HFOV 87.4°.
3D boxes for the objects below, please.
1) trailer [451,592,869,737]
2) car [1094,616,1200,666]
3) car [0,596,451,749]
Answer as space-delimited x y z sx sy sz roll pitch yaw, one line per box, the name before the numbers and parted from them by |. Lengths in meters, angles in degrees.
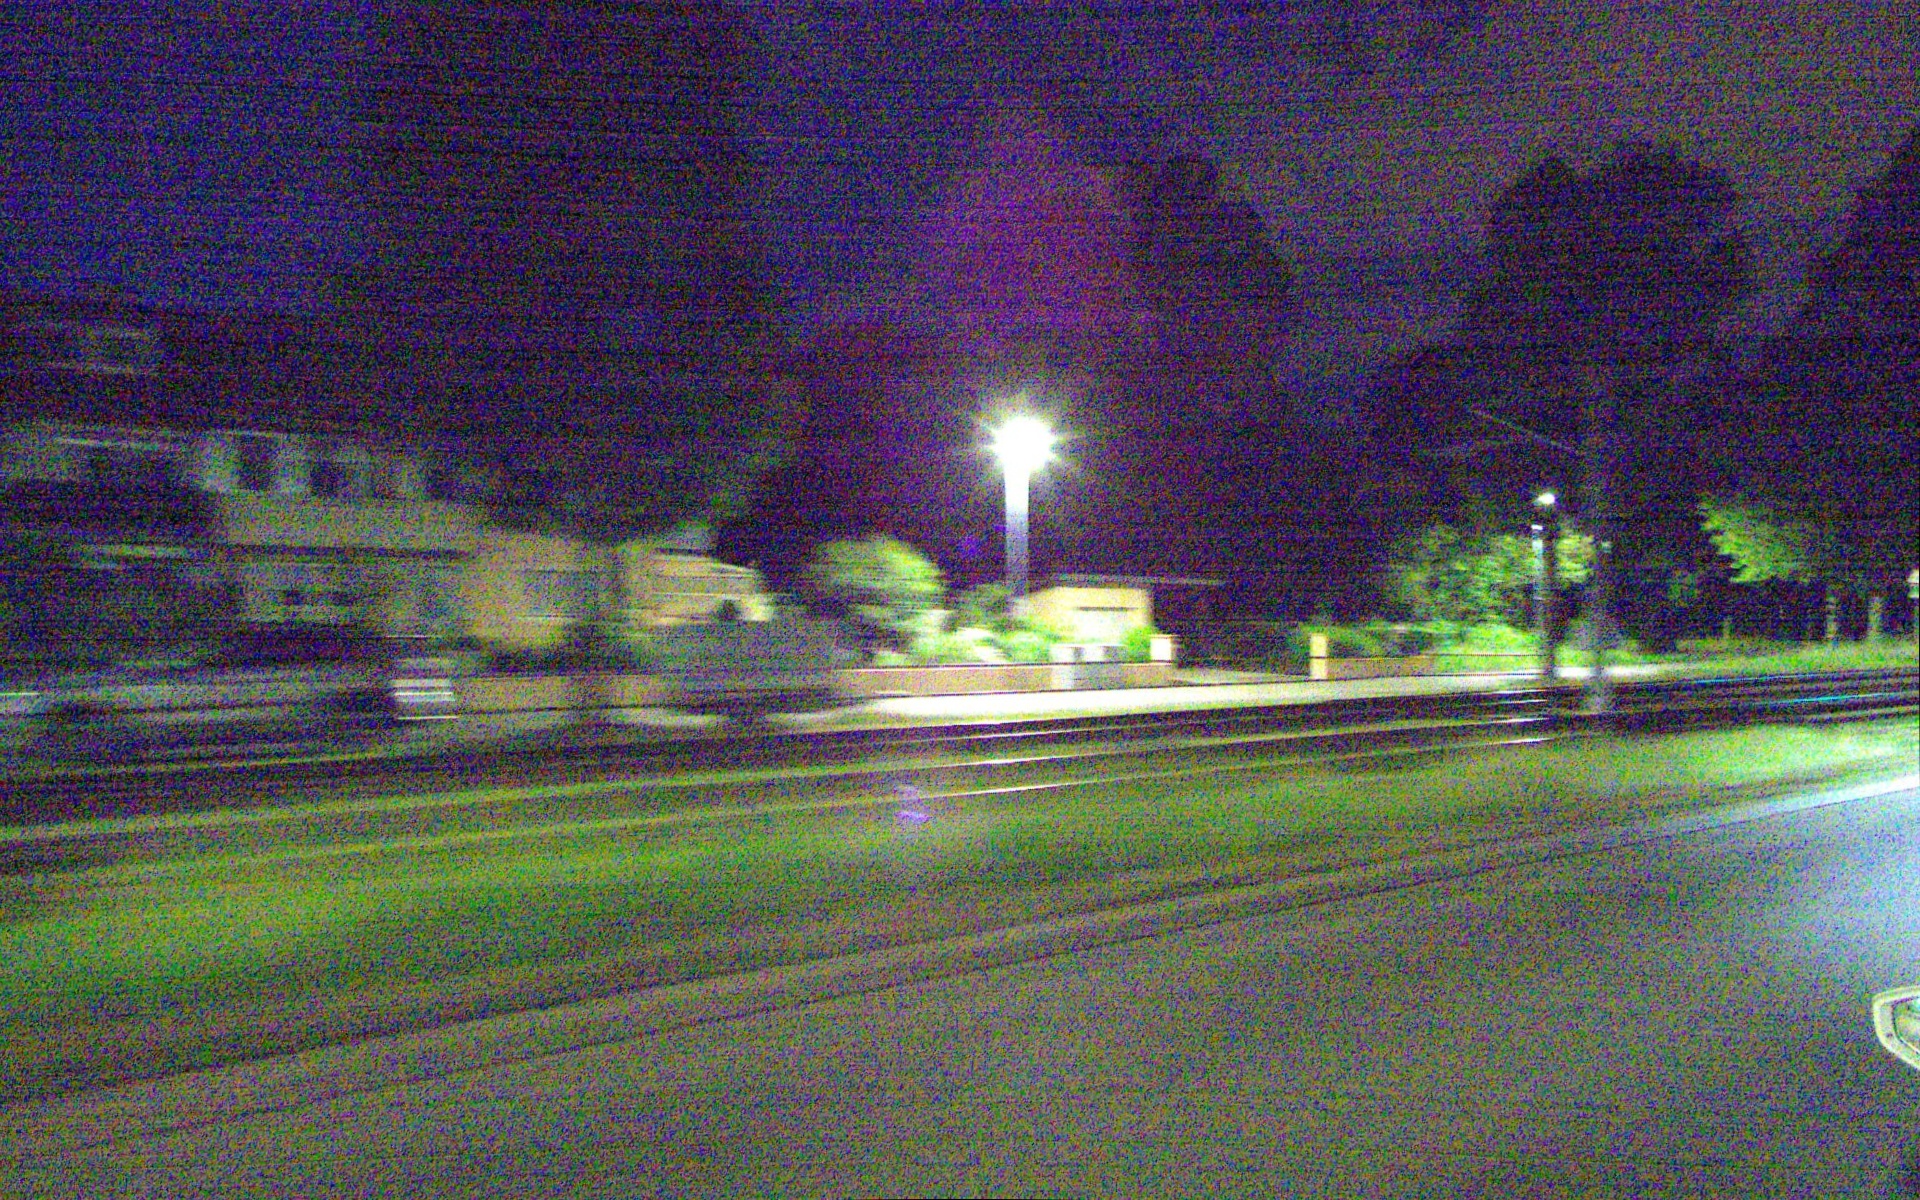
trailer | -4.298 0.914 14.765 5.605 1.804 2.016 1 -4 -29
car | 6.724 1.464 36.496 1.735 1.630 3.972 2 0 -27
car | -8.738 0.882 12.211 4.479 1.597 1.710 2 -5 -29
